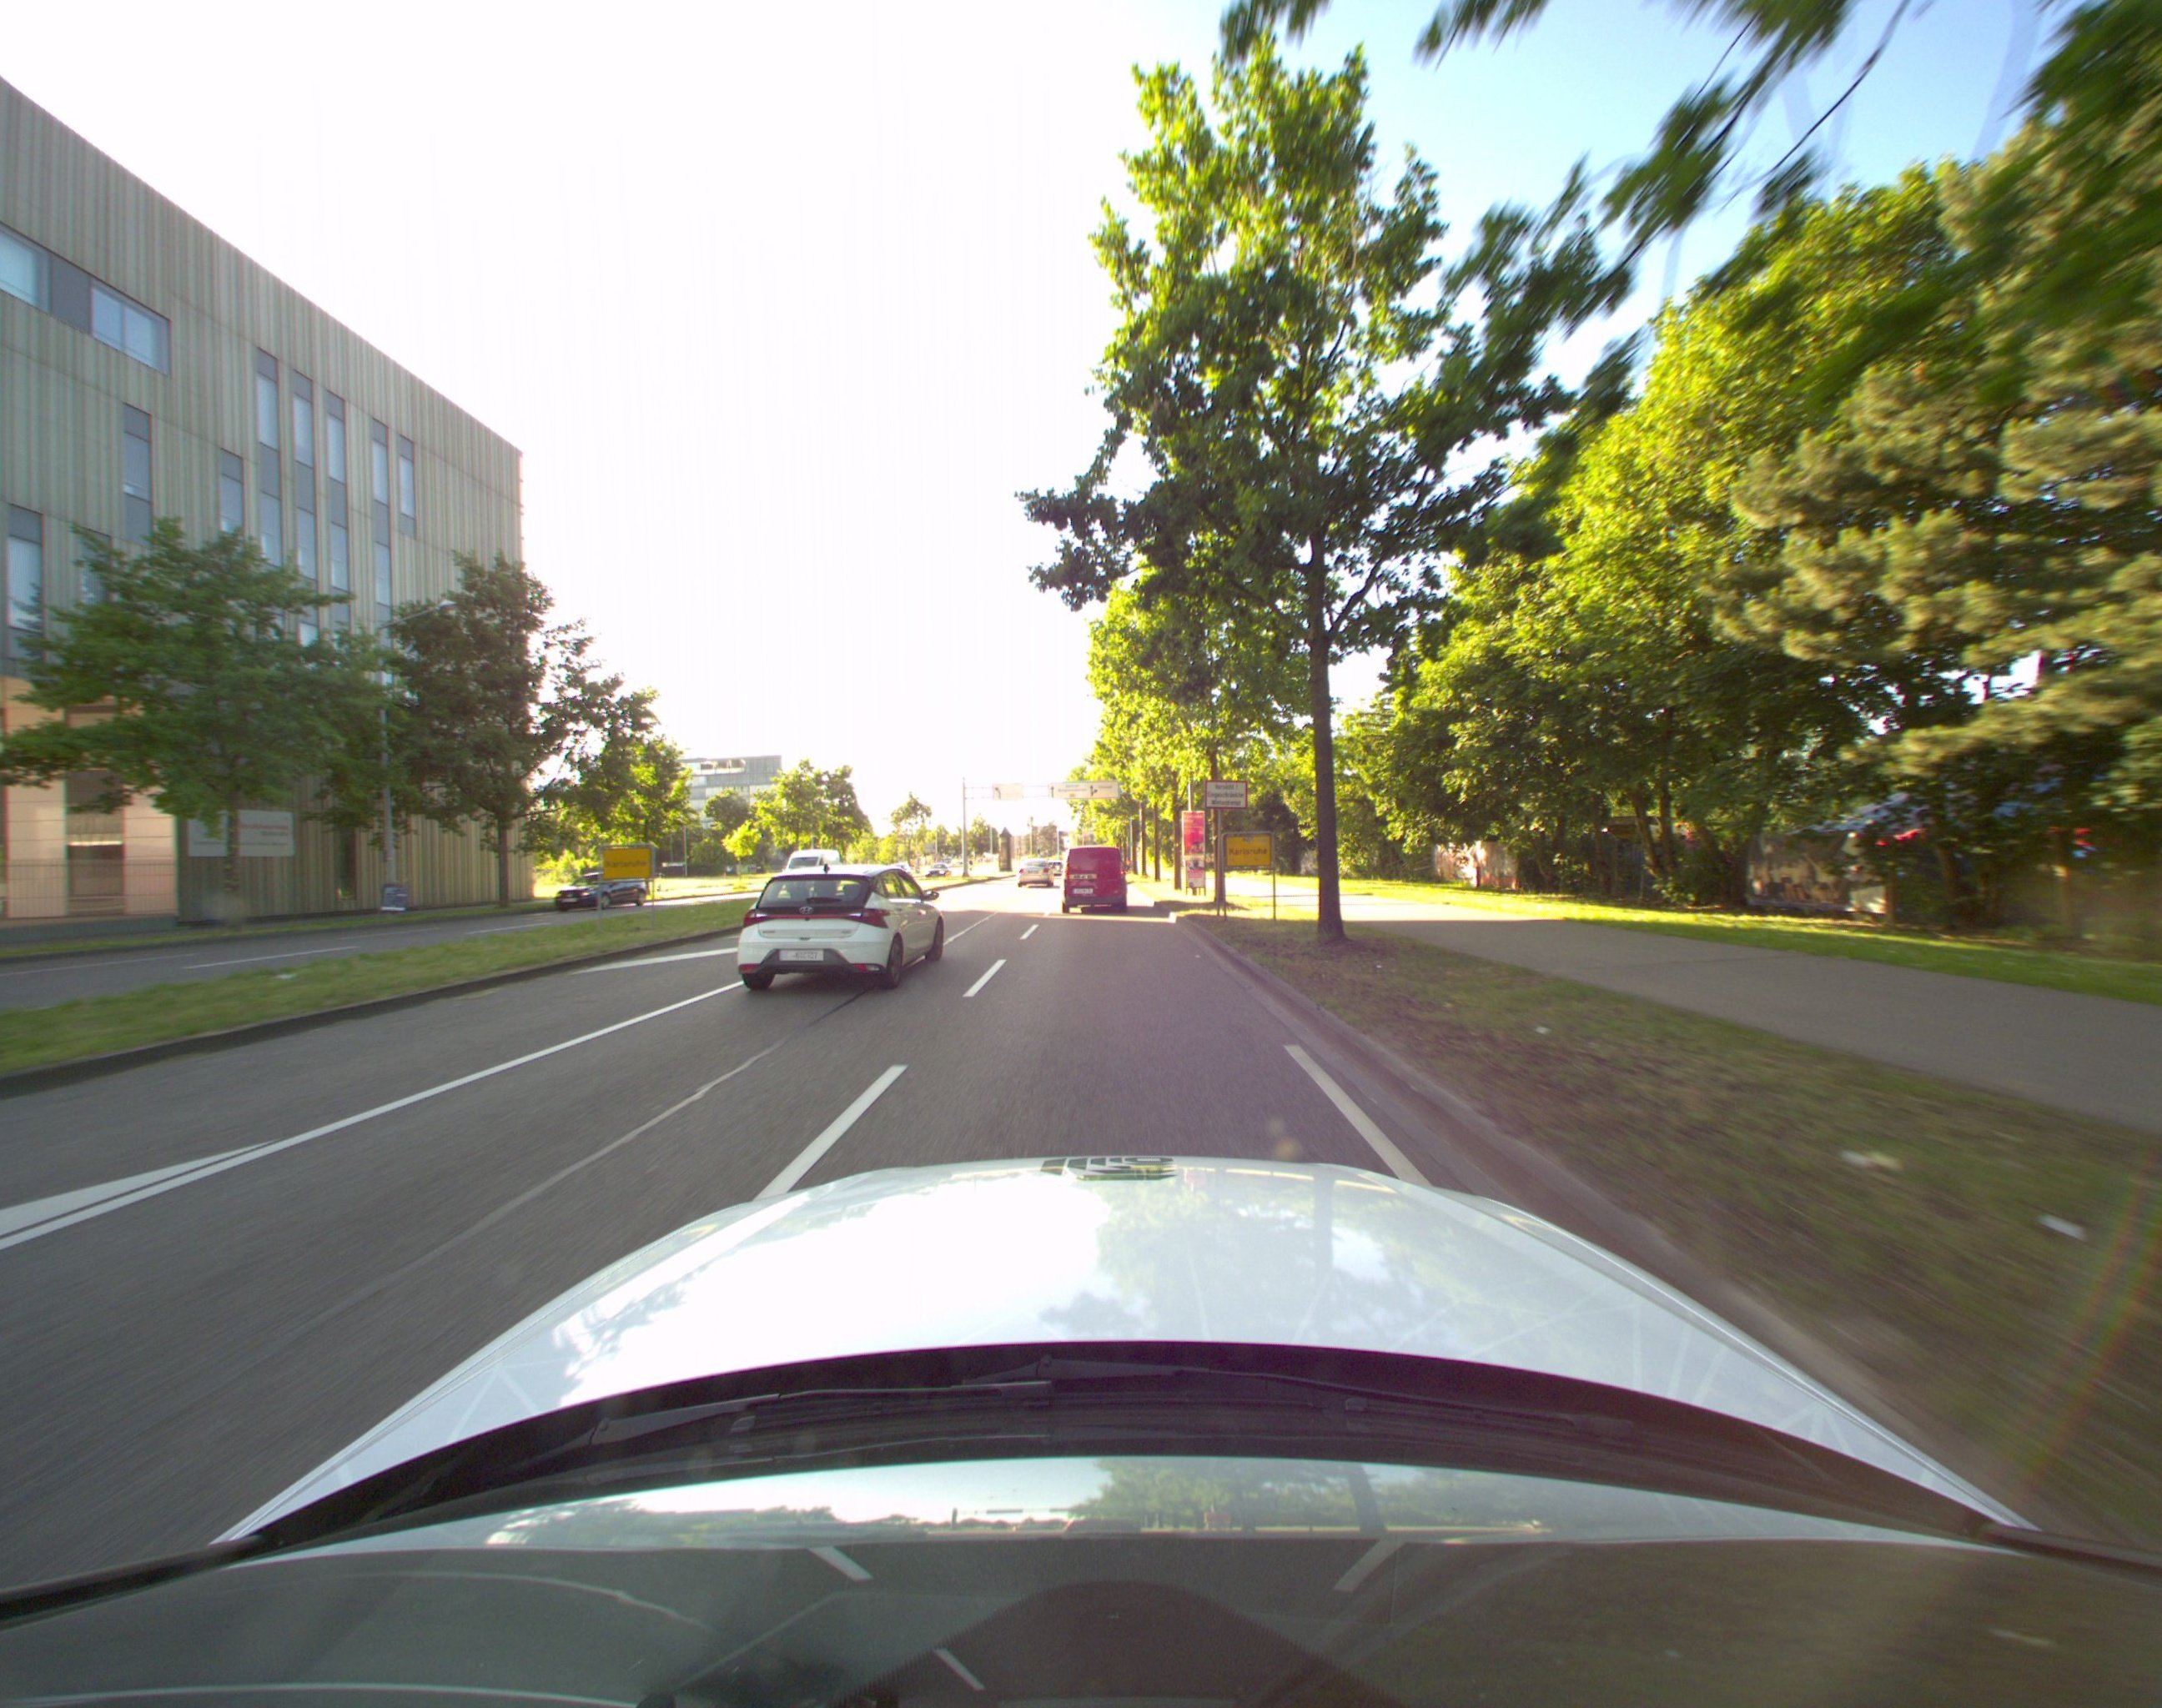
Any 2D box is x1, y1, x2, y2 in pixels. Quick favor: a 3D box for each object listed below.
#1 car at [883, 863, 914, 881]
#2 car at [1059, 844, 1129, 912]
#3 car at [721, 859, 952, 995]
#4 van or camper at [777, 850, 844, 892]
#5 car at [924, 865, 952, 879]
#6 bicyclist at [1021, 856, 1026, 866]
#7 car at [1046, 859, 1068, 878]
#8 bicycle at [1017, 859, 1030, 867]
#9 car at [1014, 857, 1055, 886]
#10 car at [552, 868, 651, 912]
[{"bbox_3d":[-15.481,1.506,69.267,1.683,1.476,4.047,-2,0,-1],"label":"car"},{"bbox_3d":[0.357,0.619,23.017,1.800,1.759,4.006,0,0,0],"label":"car"},{"bbox_3d":[-2.961,0.798,10.838,1.772,1.409,4.075,-1,0,1],"label":"car"},{"bbox_3d":[-16.498,0.984,50.116,1.987,2.368,5.993,-3,0,0],"label":"van or camper"},{"bbox_3d":[-12.589,1.603,71.851,1.823,1.111,4.172,-2,0,-1],"label":"car"},{"bbox_3d":[-8.836,1.107,125.010,0.602,1.468,0.517,-2,-1,-1],"label":"bicyclist"},{"bbox_3d":[-1.910,1.151,65.476,1.656,1.398,3.558,-1,0,0],"label":"car"},{"bbox_3d":[-8.812,1.425,125.008,1.953,1.166,0.517,-2,-1,-1],"label":"bicycle"},{"bbox_3d":[-2.397,0.875,42.857,1.834,1.456,4.163,0,0,1],"label":"car"},{"bbox_3d":[-18.986,1.374,32.459,1.546,1.508,4.025,-1,0,-1],"label":"car"}]
